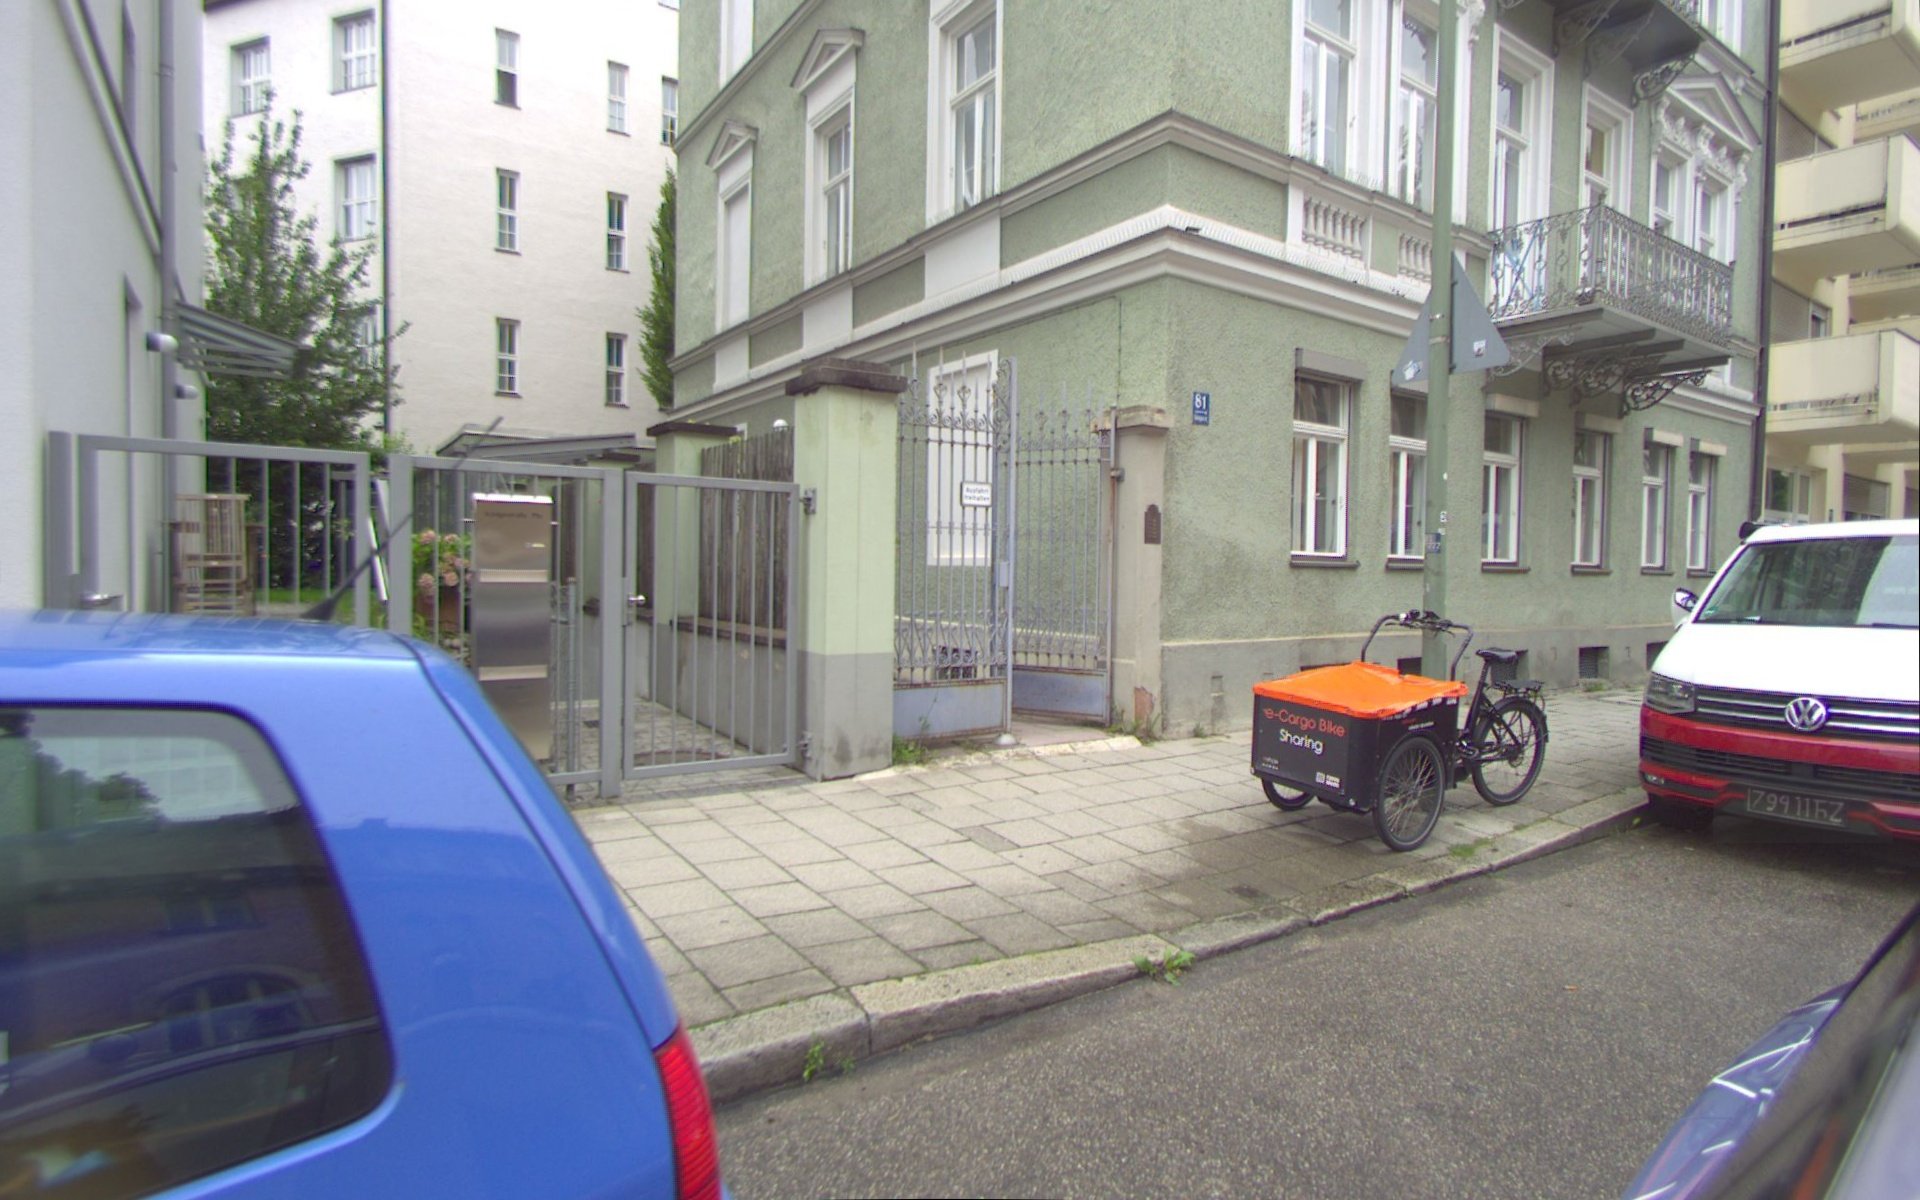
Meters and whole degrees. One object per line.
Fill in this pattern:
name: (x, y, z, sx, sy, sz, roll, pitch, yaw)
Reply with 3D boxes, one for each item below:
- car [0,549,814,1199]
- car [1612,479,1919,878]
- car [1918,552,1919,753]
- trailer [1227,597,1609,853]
car: (-2.026, 0.701, 0.687, 3.488, 1.430, 1.623, -1, 0, -37)
car: (6.239, 0.371, 6.482, 4.503, 1.920, 1.860, 0, 0, -34)
car: (10.854, 0.474, 9.535, 4.467, 1.780, 1.833, 0, 0, -35)
trailer: (2.732, 0.627, 6.001, 2.121, 1.198, 0.947, 0, 5, -30)
